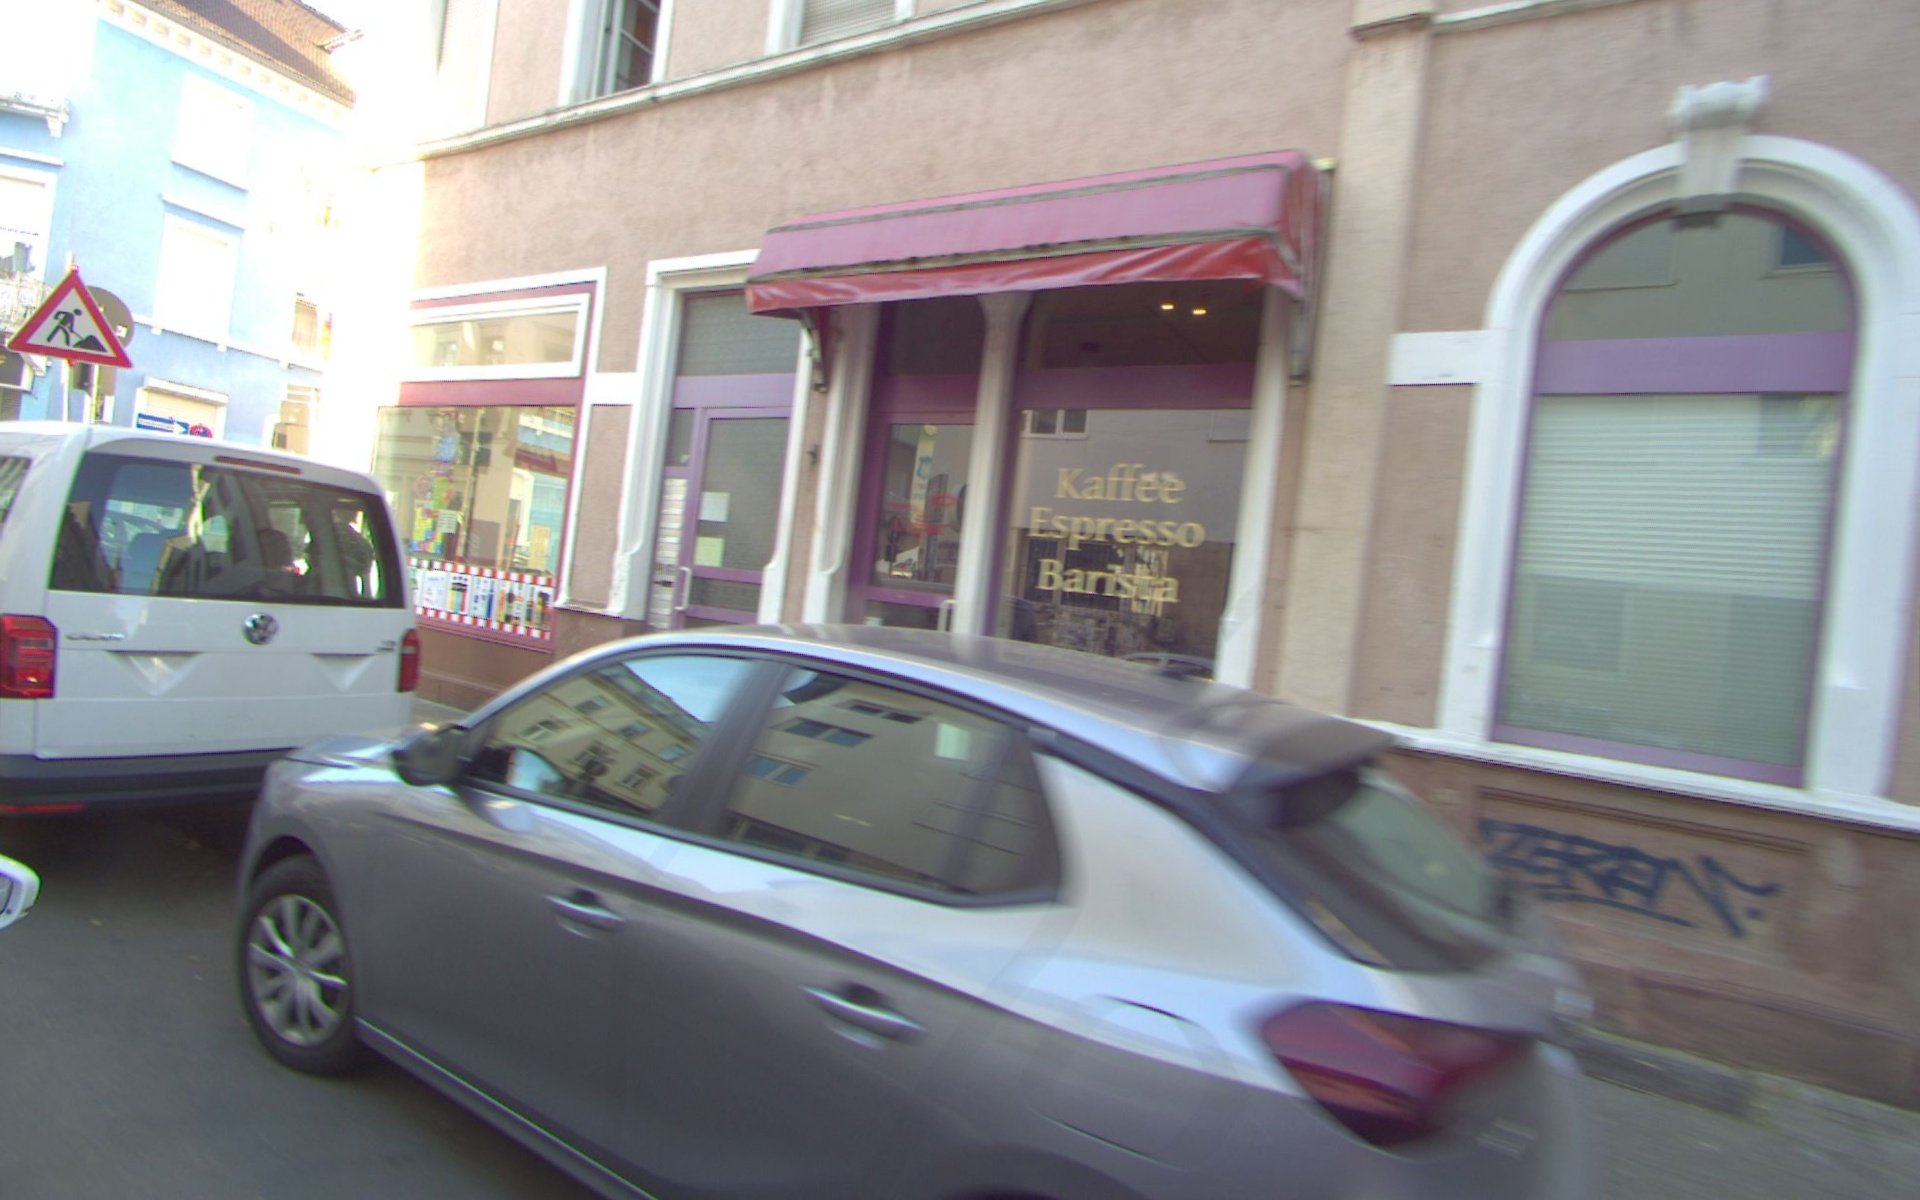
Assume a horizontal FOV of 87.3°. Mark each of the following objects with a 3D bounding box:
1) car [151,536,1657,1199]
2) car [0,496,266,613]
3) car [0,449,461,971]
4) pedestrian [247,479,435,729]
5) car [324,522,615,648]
[{"bbox_3d":[-0.475,0.730,2.856,3.817,1.426,1.610,6,0,32],"label":"car"},{"bbox_3d":[-14.522,-0.773,17.263,1.649,1.470,3.874,7,-2,32],"label":"car"},{"bbox_3d":[-4.780,0.252,5.295,4.298,1.839,1.750,6,0,32],"label":"car"},{"bbox_3d":[-4.912,0.021,7.986,0.974,1.816,0.826,6,2,32],"label":"pedestrian"},{"bbox_3d":[-8.299,-0.188,17.398,1.826,1.651,4.066,4,-3,32],"label":"car"}]
